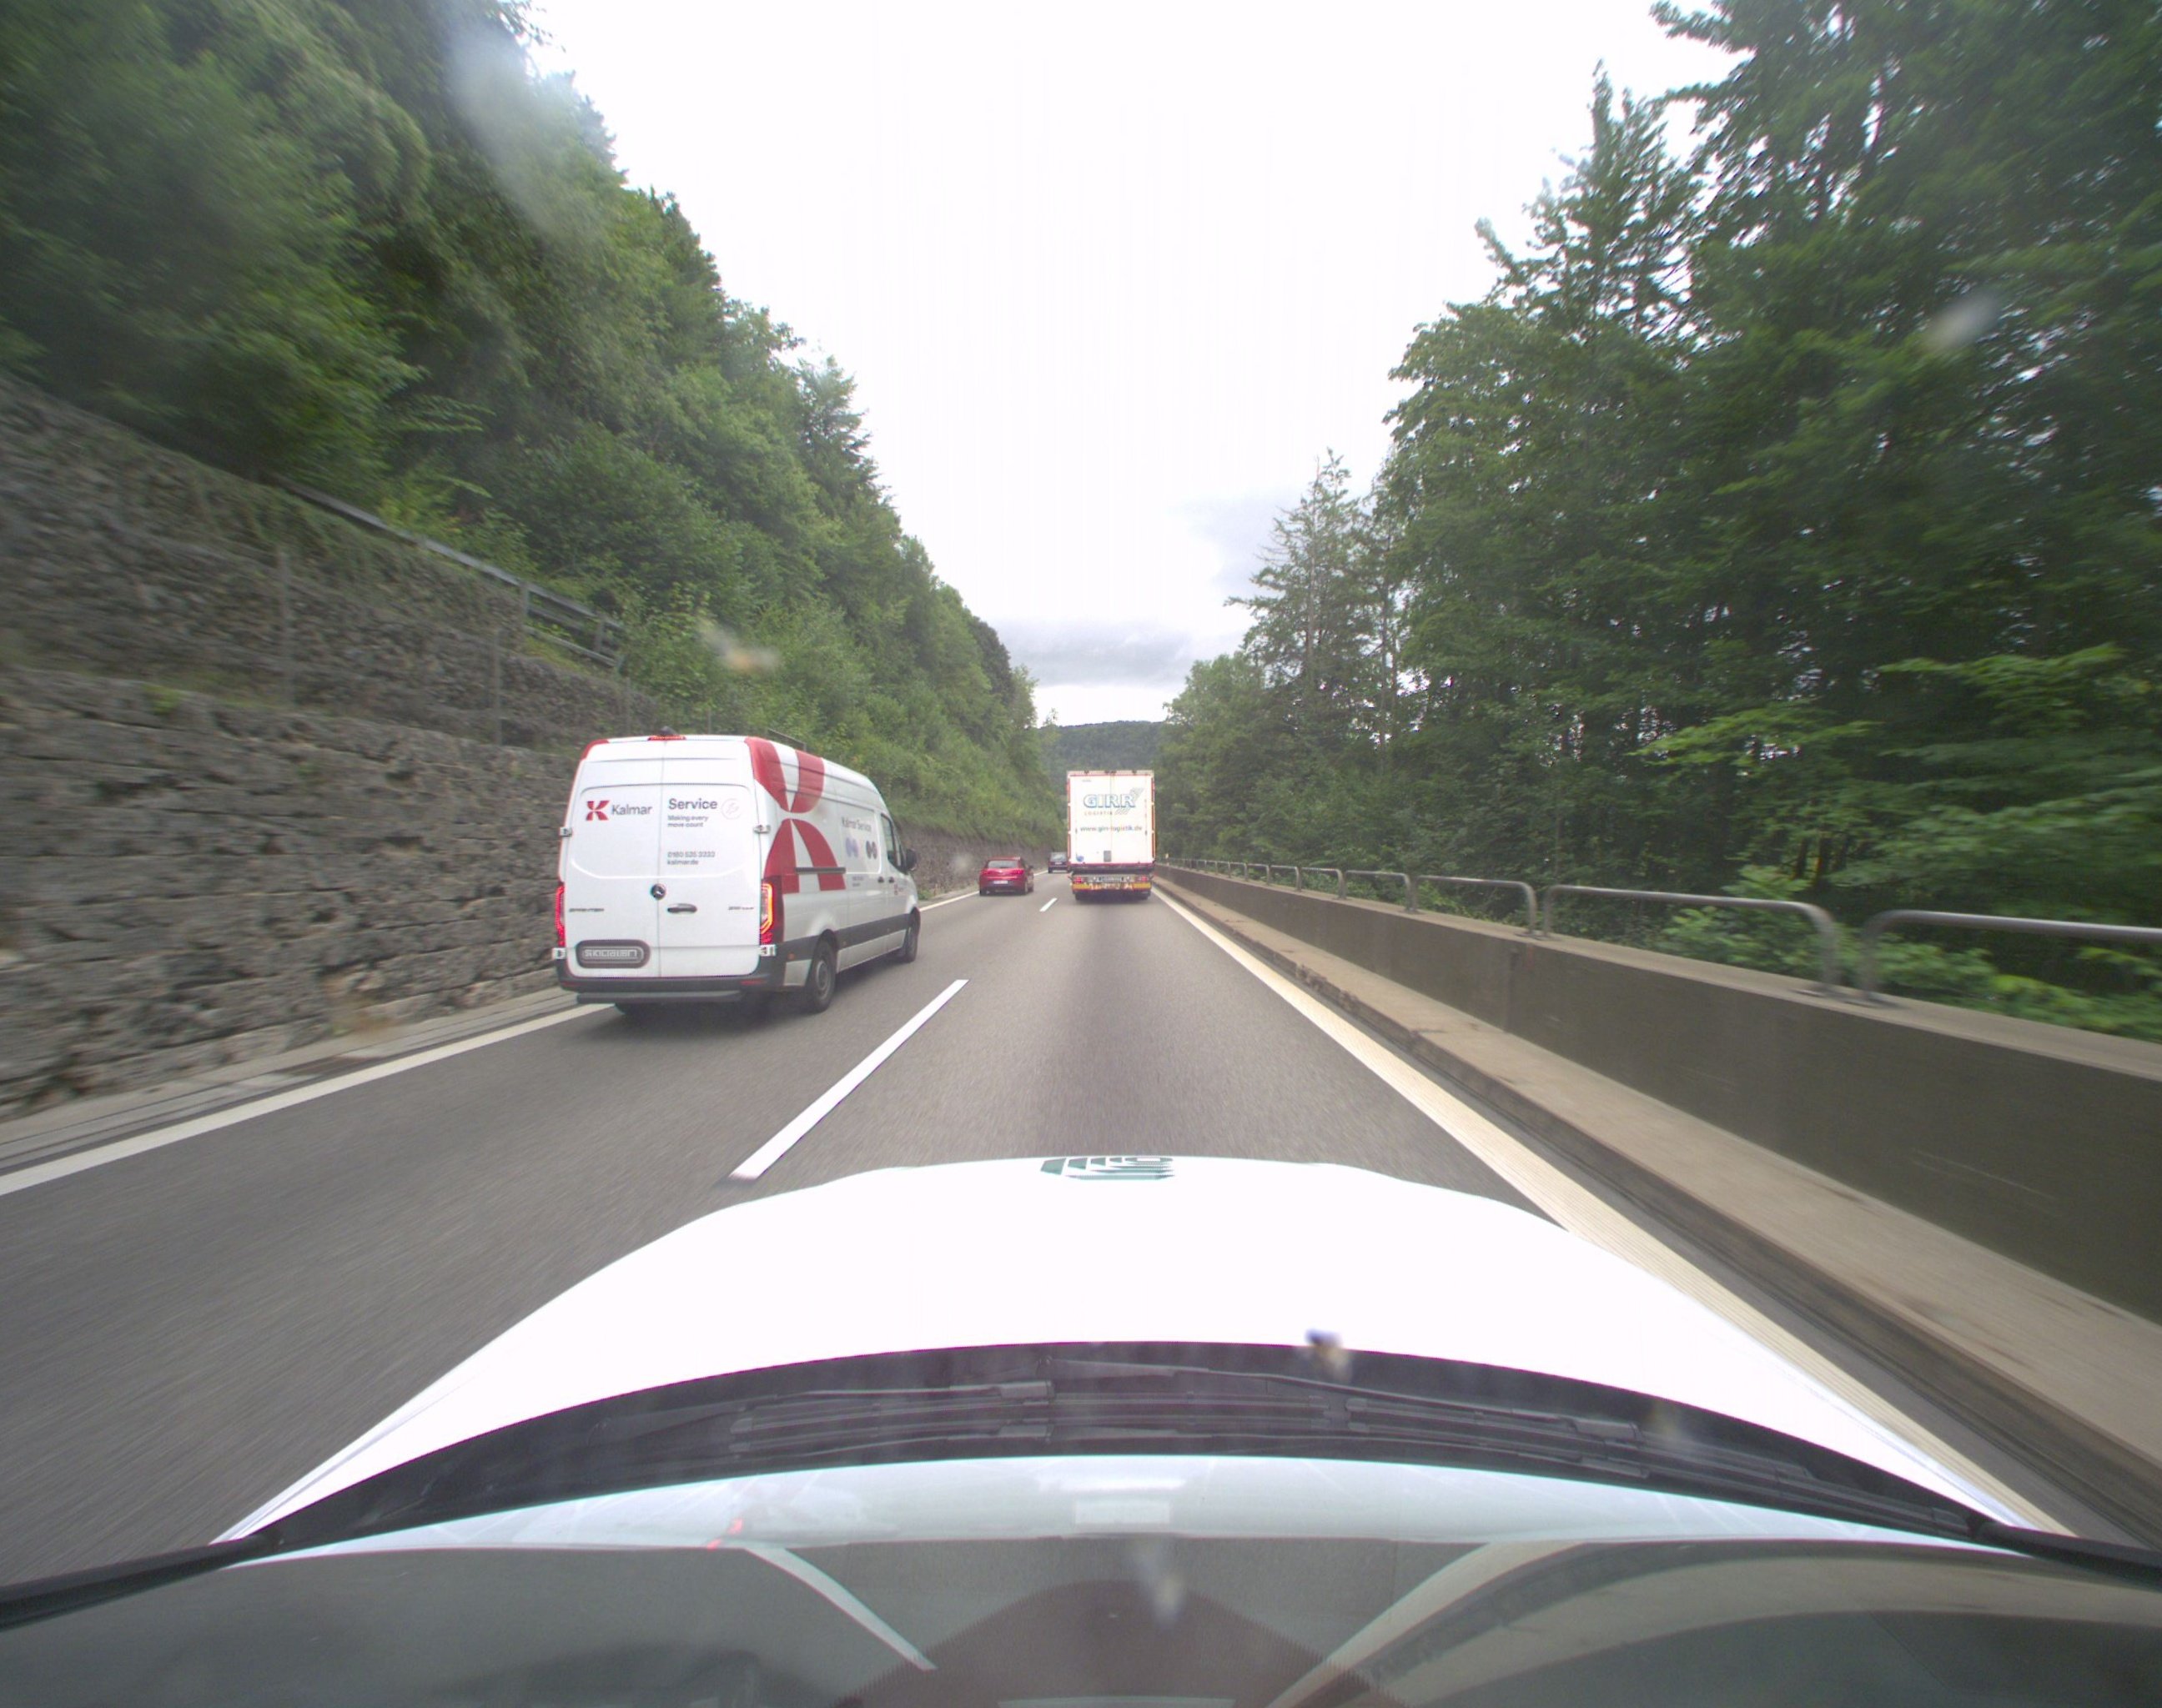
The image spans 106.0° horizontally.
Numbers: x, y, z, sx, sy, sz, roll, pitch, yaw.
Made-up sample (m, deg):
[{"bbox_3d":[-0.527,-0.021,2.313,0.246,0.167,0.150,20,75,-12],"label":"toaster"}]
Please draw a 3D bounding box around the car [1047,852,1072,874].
[{"bbox_3d":[-1.688,0.671,63.988,1.662,1.639,4.070,-2,0,2],"label":"car"}]

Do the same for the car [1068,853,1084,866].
[{"bbox_3d":[-0.621,0.654,101.277,1.722,1.486,4.002,-2,0,2],"label":"car"}]

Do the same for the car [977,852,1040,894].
[{"bbox_3d":[-2.730,0.679,31.426,1.759,1.460,4.415,-2,0,3],"label":"car"}]

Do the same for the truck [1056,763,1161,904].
[{"bbox_3d":[1.002,-0.582,27.959,2.897,3.960,9.285,-2,0,3],"label":"truck"}]

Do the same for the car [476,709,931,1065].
[{"bbox_3d":[-3.392,0.265,9.189,2.019,2.585,6.276,-2,0,1],"label":"car"}]
